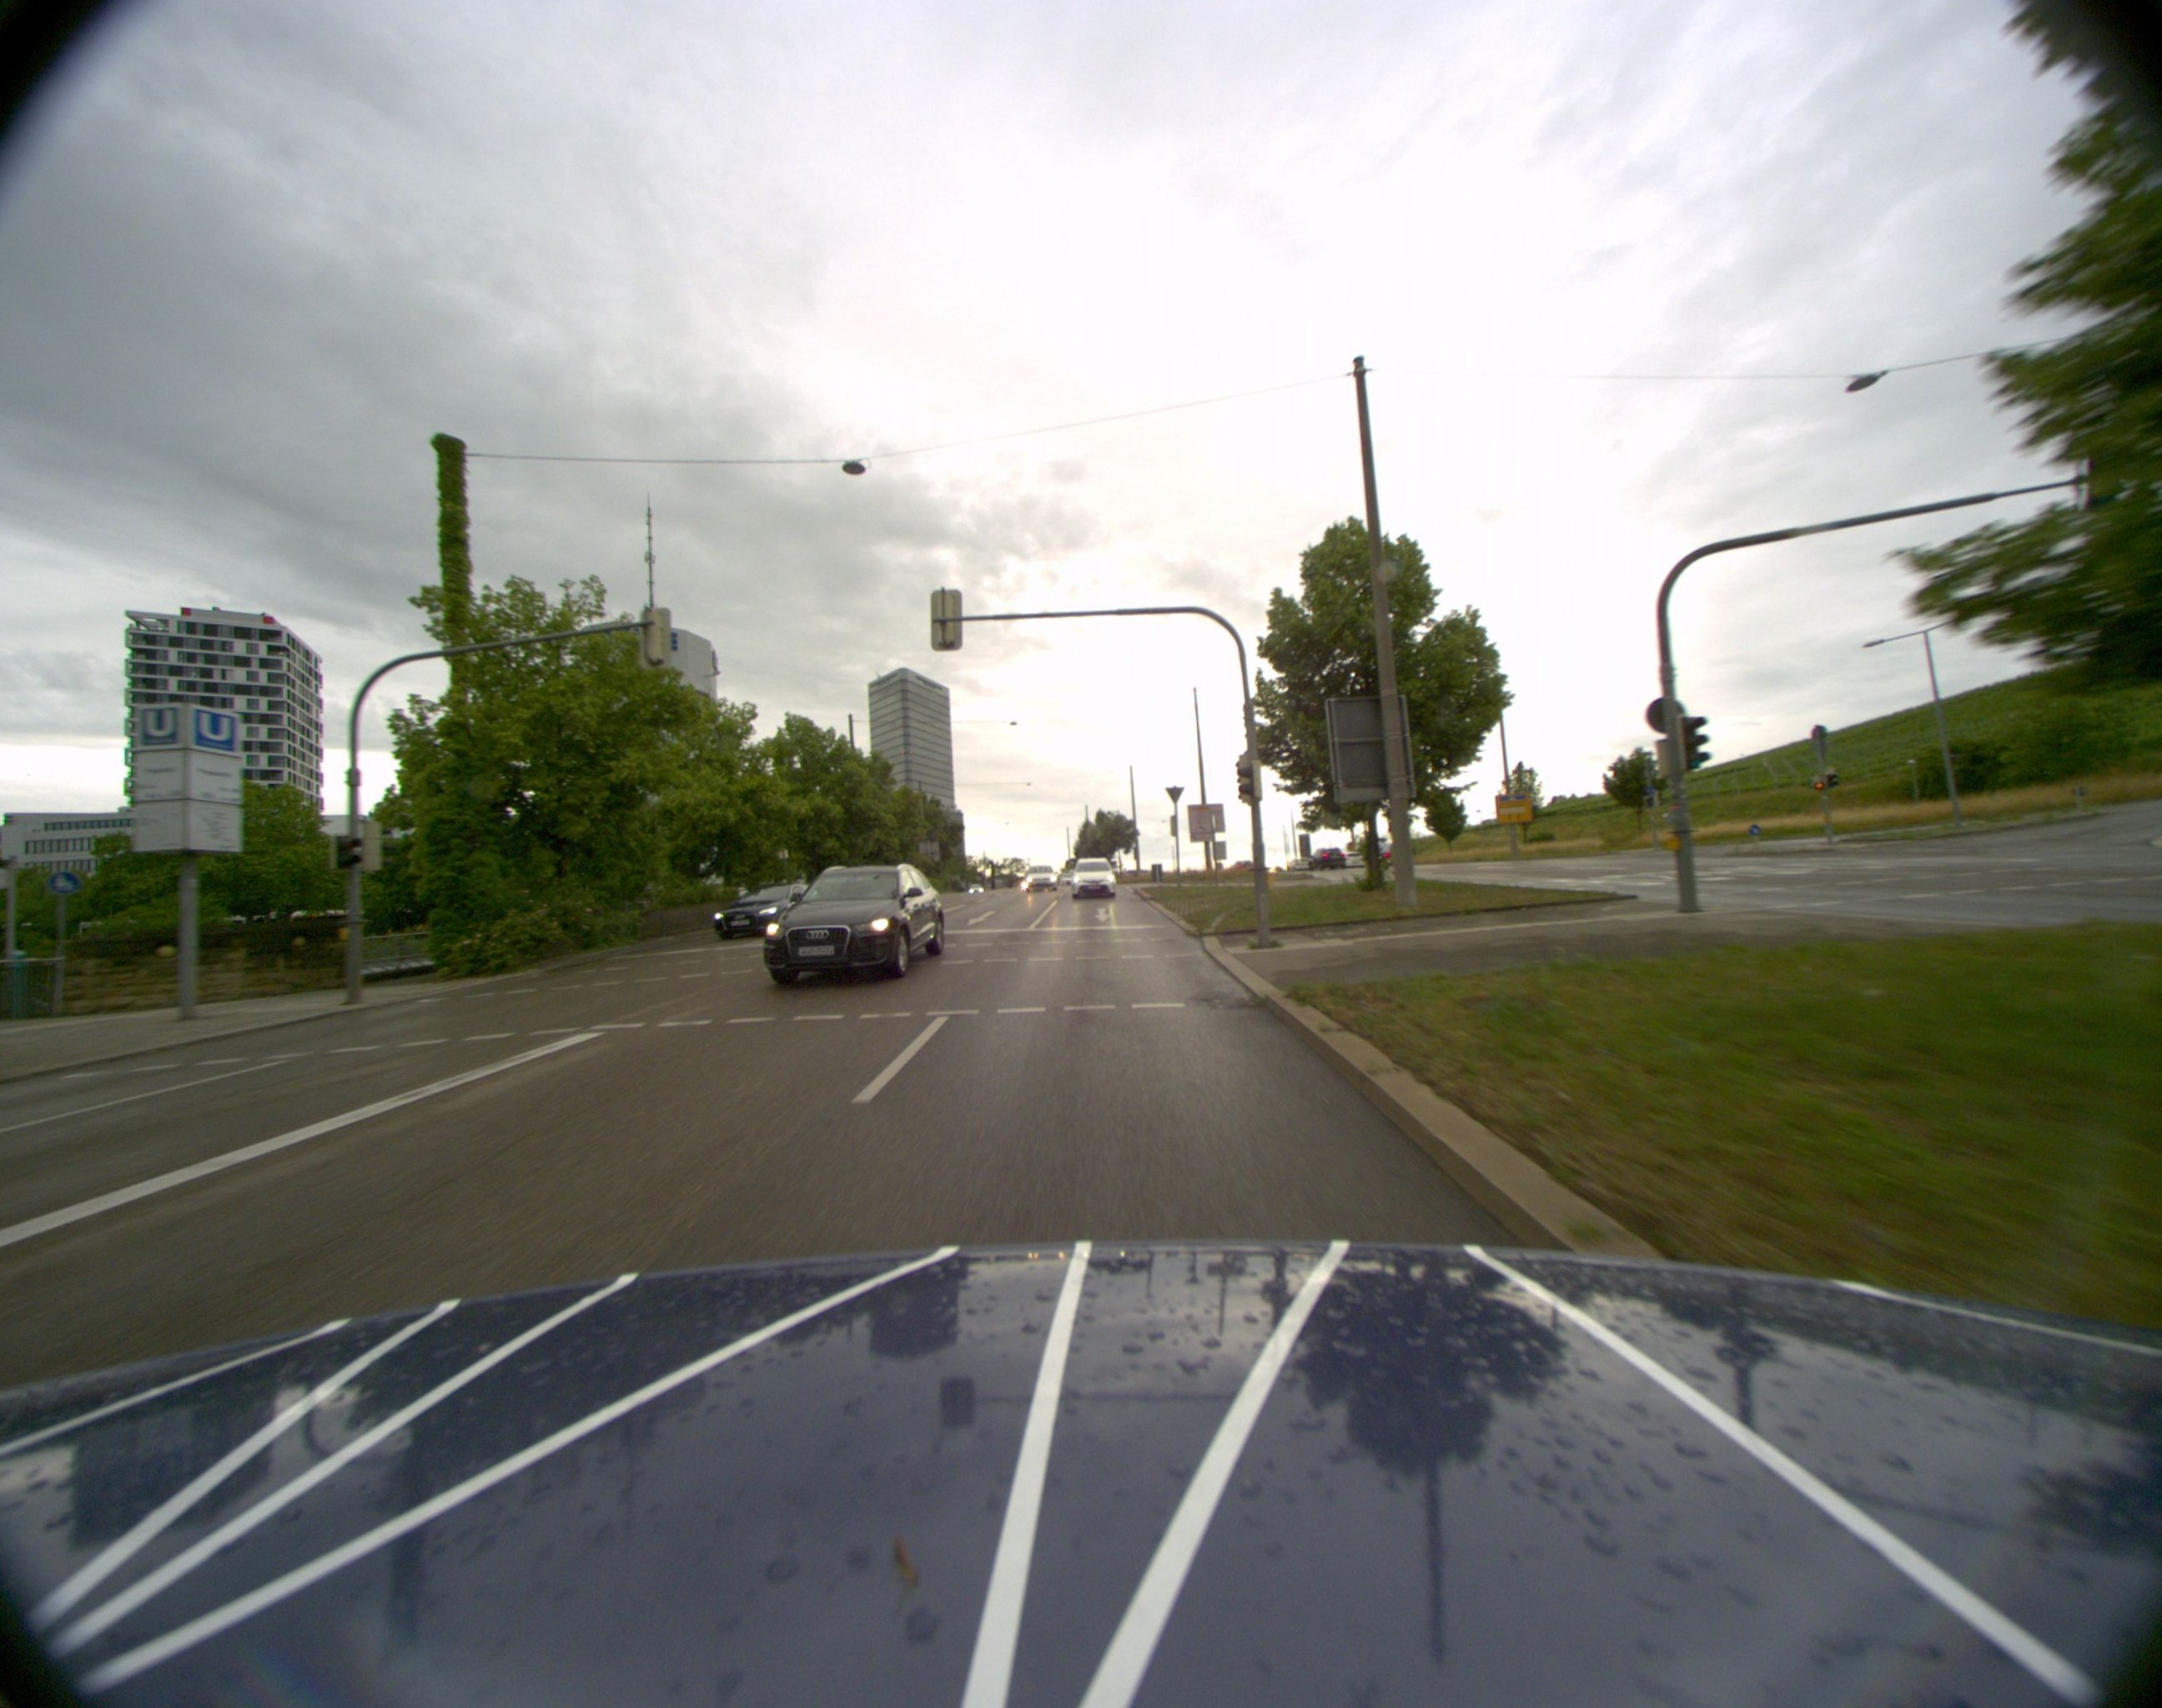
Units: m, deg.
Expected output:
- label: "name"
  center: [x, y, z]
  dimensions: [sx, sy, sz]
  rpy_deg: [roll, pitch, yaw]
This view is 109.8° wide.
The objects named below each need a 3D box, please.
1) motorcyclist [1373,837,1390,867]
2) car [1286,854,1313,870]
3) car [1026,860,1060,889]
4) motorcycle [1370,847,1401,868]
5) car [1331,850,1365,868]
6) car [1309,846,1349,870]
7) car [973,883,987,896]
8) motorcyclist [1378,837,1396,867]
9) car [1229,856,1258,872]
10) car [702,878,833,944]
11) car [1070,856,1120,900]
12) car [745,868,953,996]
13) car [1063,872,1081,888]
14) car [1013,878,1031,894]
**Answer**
- label: "motorcyclist"
  center: [16.312, -0.108, 41.224]
  dimensions: [0.583, 1.586, 0.643]
  rpy_deg: [-3, -1, 0]
- label: "car"
  center: [23.960, 0.826, 83.429]
  dimensions: [1.772, 1.638, 4.178]
  rpy_deg: [-3, 0, 1]
- label: "car"
  center: [-2.136, 1.134, 42.233]
  dimensions: [1.730, 1.463, 4.263]
  rpy_deg: [-3, -1, -3]
- label: "motorcycle"
  center: [16.340, 0.225, 40.870]
  dimensions: [0.618, 1.043, 2.503]
  rpy_deg: [-3, -2, 0]
- label: "car"
  center: [23.009, 0.459, 65.638]
  dimensions: [1.655, 1.454, 3.775]
  rpy_deg: [-3, -2, 1]
- label: "car"
  center: [17.049, 0.275, 52.328]
  dimensions: [1.542, 1.495, 3.662]
  rpy_deg: [-3, 0, 1]
- label: "car"
  center: [-12.888, 4.587, 96.952]
  dimensions: [1.636, 1.466, 3.676]
  rpy_deg: [-3, -3, -9]
- label: "motorcyclist"
  center: [16.323, -0.098, 40.535]
  dimensions: [0.613, 1.572, 0.582]
  rpy_deg: [-3, -1, 0]
- label: "car"
  center: [16.237, 1.021, 76.098]
  dimensions: [1.755, 1.495, 4.463]
  rpy_deg: [-3, -1, -3]
- label: "car"
  center: [-8.863, 1.553, 21.949]
  dimensions: [1.876, 1.417, 4.348]
  rpy_deg: [-3, 0, 1]
- label: "car"
  center: [0.619, 0.933, 30.889]
  dimensions: [1.827, 1.574, 4.298]
  rpy_deg: [-3, -1, 2]
- label: "car"
  center: [-3.291, 1.027, 11.703]
  dimensions: [1.729, 1.524, 4.128]
  rpy_deg: [-3, -1, 2]
- label: "car"
  center: [-0.961, 2.755, 79.683]
  dimensions: [1.543, 1.420, 3.808]
  rpy_deg: [-3, -3, -5]
- label: "car"
  center: [-7.317, 4.011, 93.884]
  dimensions: [1.803, 1.763, 4.000]
  rpy_deg: [-3, -3, -8]
